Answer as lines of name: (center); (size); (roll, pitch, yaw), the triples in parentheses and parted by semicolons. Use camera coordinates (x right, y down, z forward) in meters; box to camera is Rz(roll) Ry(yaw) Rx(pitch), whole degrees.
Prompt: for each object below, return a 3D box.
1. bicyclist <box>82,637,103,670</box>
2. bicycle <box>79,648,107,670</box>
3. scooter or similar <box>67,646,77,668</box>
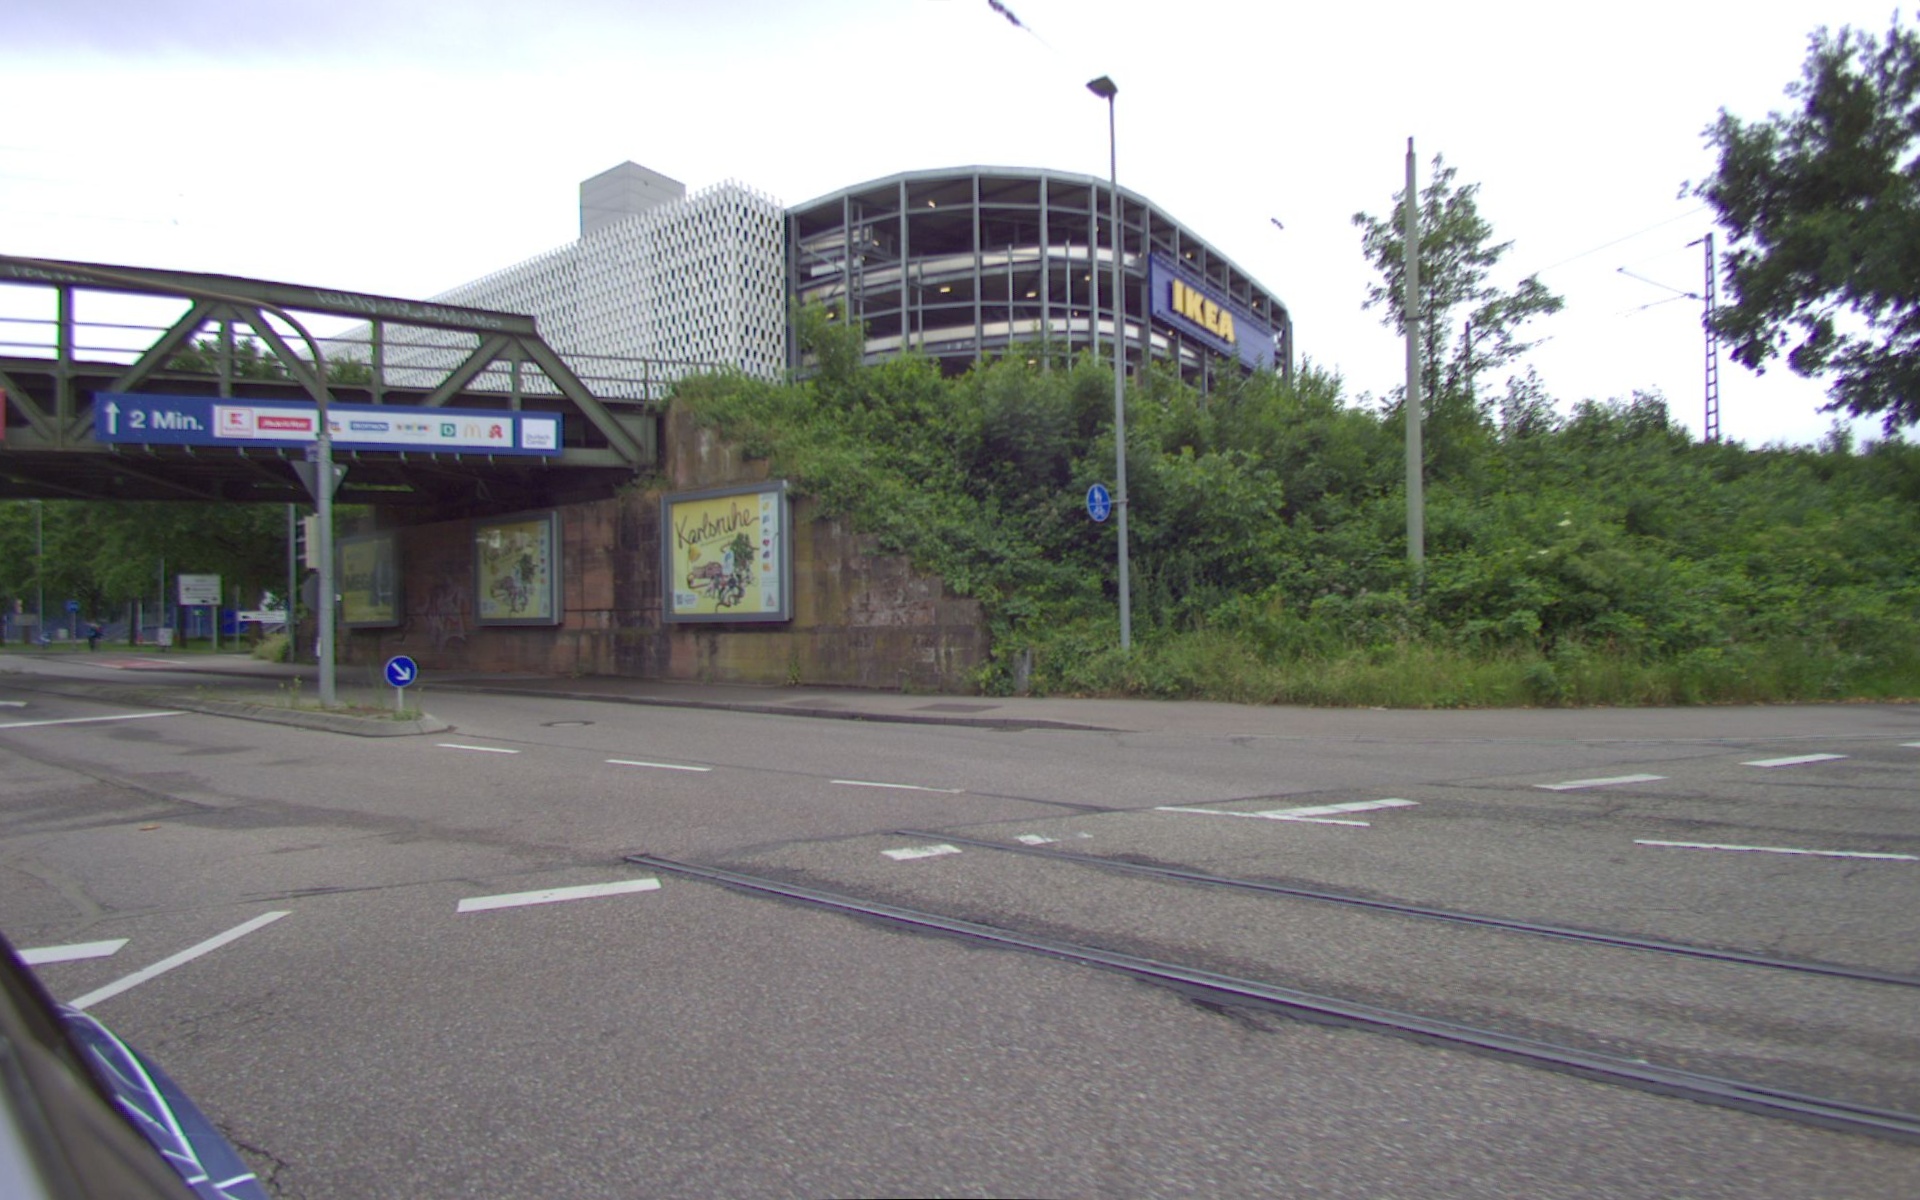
bicyclist: (-50.418, 3.095, 58.817); (1.018, 1.888, 0.695); (-1, 0, 36)
bicycle: (-50.408, 3.434, 58.811); (2.366, 1.195, 0.706); (-1, 1, 37)
scooter or similar: (-55.844, 3.568, 63.645); (0.442, 1.331, 1.506); (0, -2, -44)
